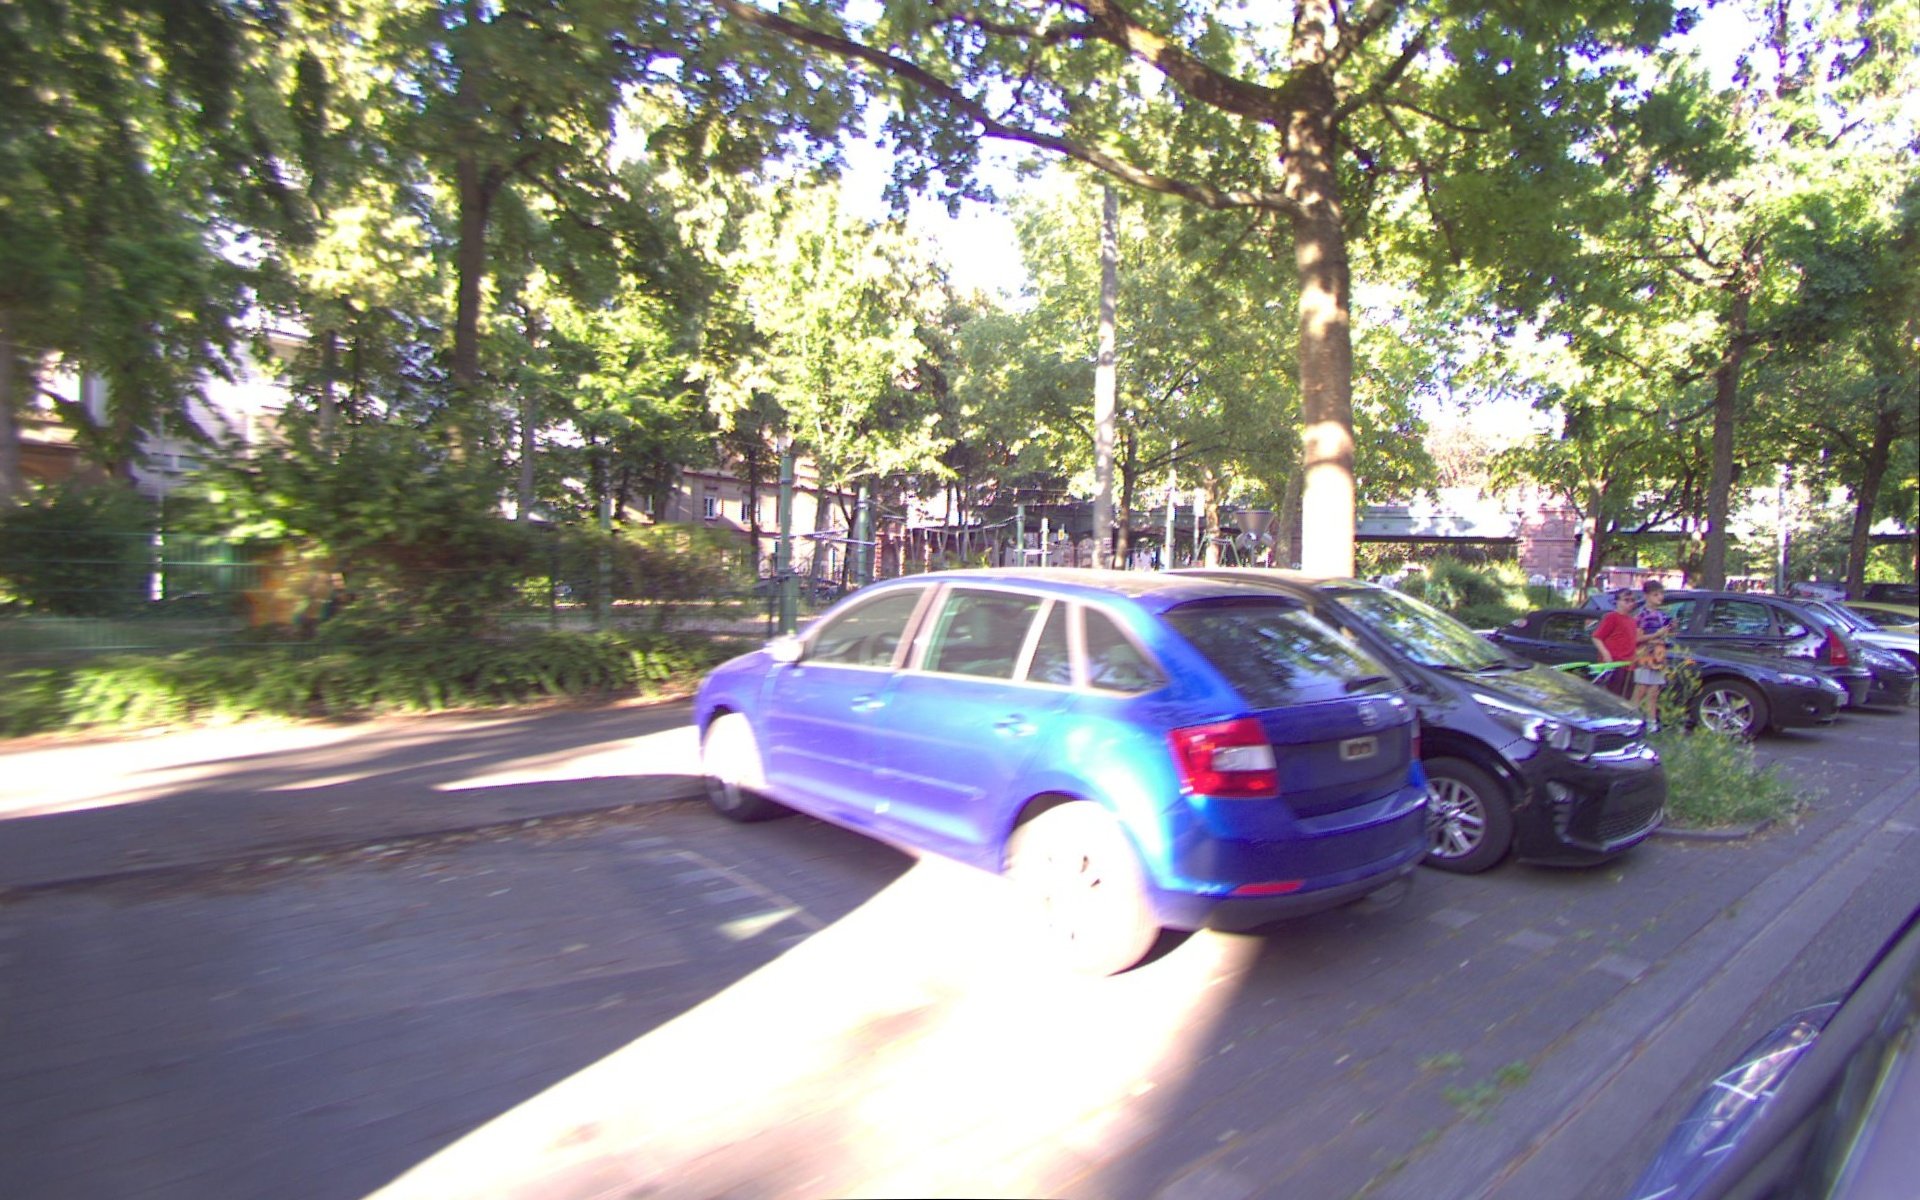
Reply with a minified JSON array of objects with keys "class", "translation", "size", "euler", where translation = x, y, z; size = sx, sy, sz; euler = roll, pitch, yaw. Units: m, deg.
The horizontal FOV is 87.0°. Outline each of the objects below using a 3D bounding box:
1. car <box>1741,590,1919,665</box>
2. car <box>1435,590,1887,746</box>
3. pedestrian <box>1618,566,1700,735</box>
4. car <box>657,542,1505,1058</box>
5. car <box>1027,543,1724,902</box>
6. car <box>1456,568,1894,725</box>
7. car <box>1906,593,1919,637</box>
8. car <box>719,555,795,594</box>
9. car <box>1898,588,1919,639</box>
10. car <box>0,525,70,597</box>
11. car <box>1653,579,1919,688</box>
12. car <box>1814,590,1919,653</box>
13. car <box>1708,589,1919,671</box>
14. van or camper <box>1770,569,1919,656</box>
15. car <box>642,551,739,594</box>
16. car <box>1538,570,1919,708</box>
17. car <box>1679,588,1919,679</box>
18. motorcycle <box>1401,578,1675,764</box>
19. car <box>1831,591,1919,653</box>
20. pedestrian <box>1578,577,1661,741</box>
[{"class":"car","translation":[20.456,0.595,22.642],"size":[1.805,1.458,4.409],"euler":[-1,3,-40]},{"class":"car","translation":[7.665,0.610,11.369],"size":[1.661,1.295,3.851],"euler":[0,3,-40]},{"class":"pedestrian","translation":[6.807,0.488,9.863],"size":[0.508,1.605,0.382],"euler":[3,0,-21]},{"class":"car","translation":[0.208,0.506,5.098],"size":[1.731,1.460,4.089],"euler":[0,3,-42]},{"class":"car","translation":[2.323,0.463,6.434],"size":[1.730,1.520,3.685],"euler":[0,3,-38]},{"class":"car","translation":[9.146,0.447,13.245],"size":[1.807,1.610,4.404],"euler":[-1,3,-44]},{"class":"car","translation":[35.661,0.609,35.203],"size":[1.634,1.491,3.794],"euler":[-2,3,-37]},{"class":"car","translation":[-11.054,-1.384,55.339],"size":[1.983,2.038,3.960],"euler":[0,2,29]},{"class":"car","translation":[33.744,0.526,33.458],"size":[1.634,1.666,3.792],"euler":[-2,4,-39]},{"class":"car","translation":[-28.135,-1.091,28.722],"size":[1.987,2.038,3.950],"euler":[0,2,35]},{"class":"car","translation":[14.939,0.500,17.603],"size":[1.805,1.610,4.409],"euler":[-1,3,-40]},{"class":"car","translation":[25.479,0.592,26.596],"size":[1.807,1.519,4.406],"euler":[-2,4,-42]},{"class":"car","translation":[18.615,0.587,21.170],"size":[1.804,1.458,4.413],"euler":[0,3,-37]},{"class":"van or camper","translation":[23.907,0.333,25.222],"size":[1.992,2.052,5.431],"euler":[1,2,-37]},{"class":"car","translation":[-13.331,-1.384,50.367],"size":[1.982,2.038,4.691],"euler":[0,2,29]},{"class":"car","translation":[11.192,0.418,14.779],"size":[1.804,1.610,4.411],"euler":[0,3,-38]},{"class":"car","translation":[16.833,0.585,19.567],"size":[1.804,1.458,4.413],"euler":[0,3,-37]},{"class":"motorcycle","translation":[5.248,0.551,9.267],"size":[1.241,1.480,1.865],"euler":[-2,2,-38]},{"class":"car","translation":[27.229,0.641,28.033],"size":[1.634,1.596,4.413],"euler":[-1,3,-37]},{"class":"pedestrian","translation":[6.314,0.557,9.691],"size":[0.508,1.536,0.382],"euler":[3,0,-21]}]
